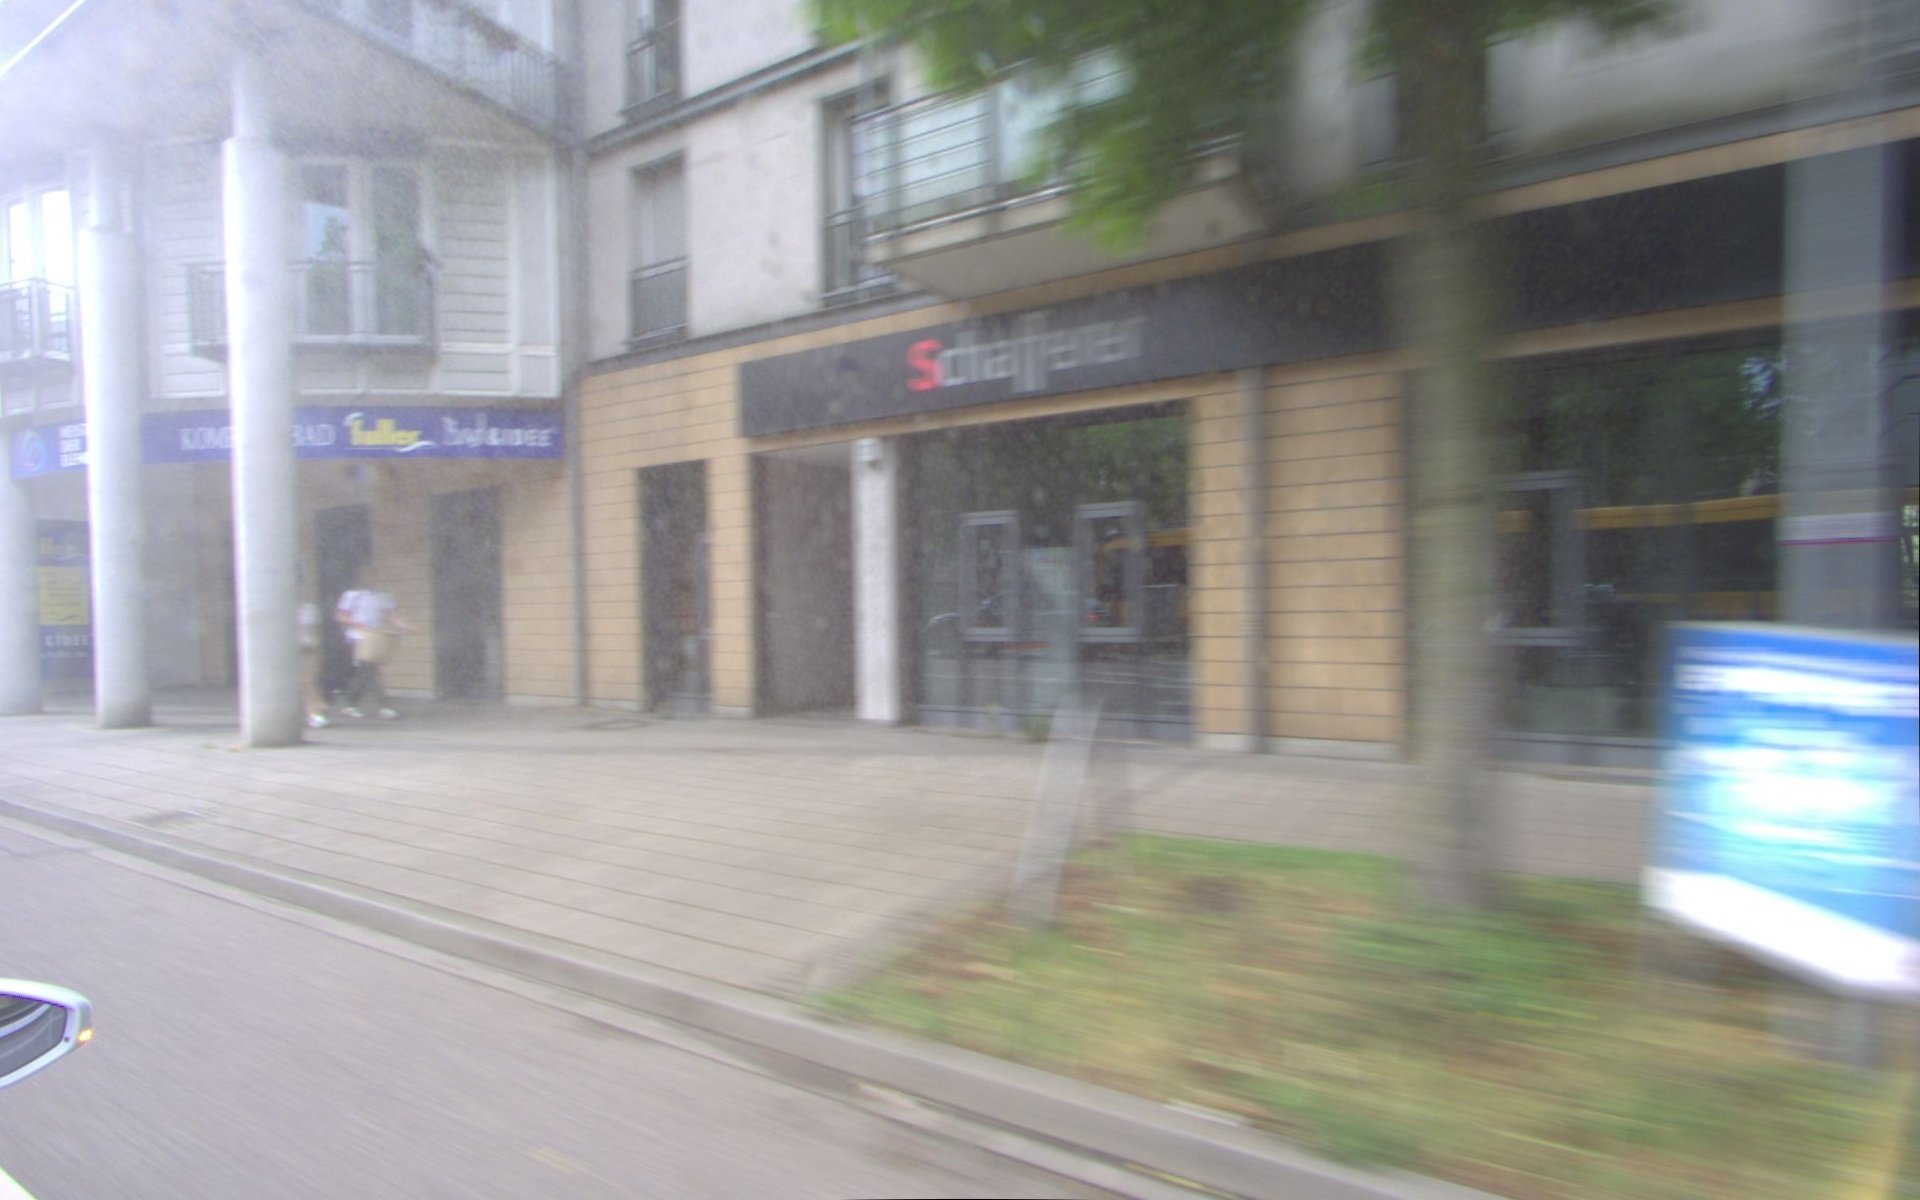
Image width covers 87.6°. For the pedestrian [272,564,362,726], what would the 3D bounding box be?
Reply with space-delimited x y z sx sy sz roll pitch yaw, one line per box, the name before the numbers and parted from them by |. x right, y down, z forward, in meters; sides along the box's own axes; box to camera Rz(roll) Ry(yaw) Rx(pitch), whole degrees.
pedestrian | -7.536 0.507 11.739 0.727 1.830 0.614 0 1 34

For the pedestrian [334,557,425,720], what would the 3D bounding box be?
pedestrian | -7.098 0.458 12.249 0.727 1.916 0.673 0 1 34
